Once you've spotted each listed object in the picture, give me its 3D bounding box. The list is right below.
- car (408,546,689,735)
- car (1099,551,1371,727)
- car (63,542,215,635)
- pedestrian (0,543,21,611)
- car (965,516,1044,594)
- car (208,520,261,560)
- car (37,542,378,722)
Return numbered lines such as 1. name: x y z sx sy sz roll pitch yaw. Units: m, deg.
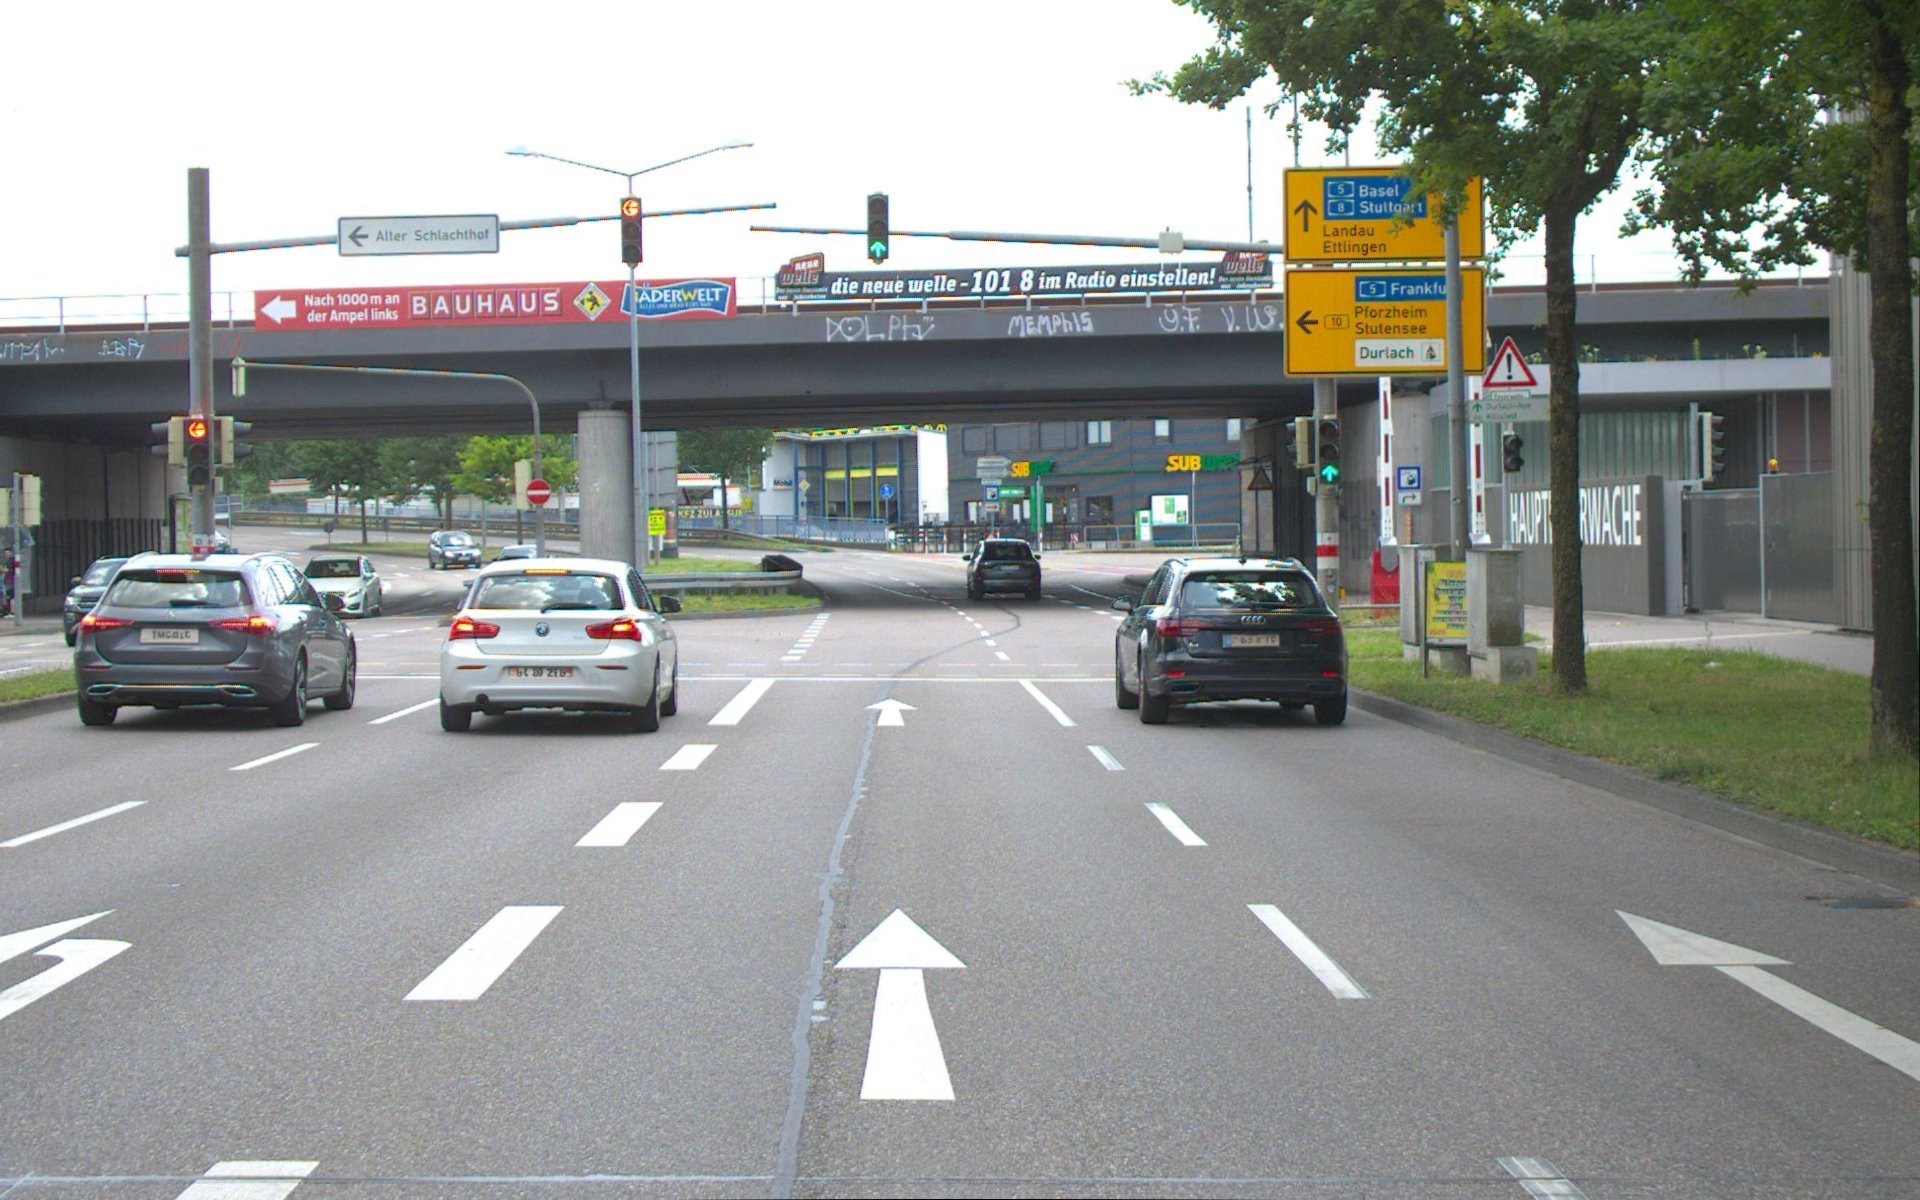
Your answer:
1. car: -3.436 0.286 29.445 1.915 1.410 4.296 2 1 -1
2. car: 2.391 0.294 31.029 1.993 1.385 4.576 1 2 -1
3. car: -15.024 -0.242 63.122 1.806 1.626 4.393 -1 1 -1
4. pedestrian: -23.620 -0.578 85.120 0.590 1.675 0.556 -1 1 -3
5. car: 1.189 -1.246 94.061 1.993 2.030 4.713 -1 1 -1
6. car: -37.608 -3.117 178.253 1.993 2.007 4.337 -1 1 -2
7. car: -6.446 0.217 30.006 1.993 1.410 4.832 1 1 -1
